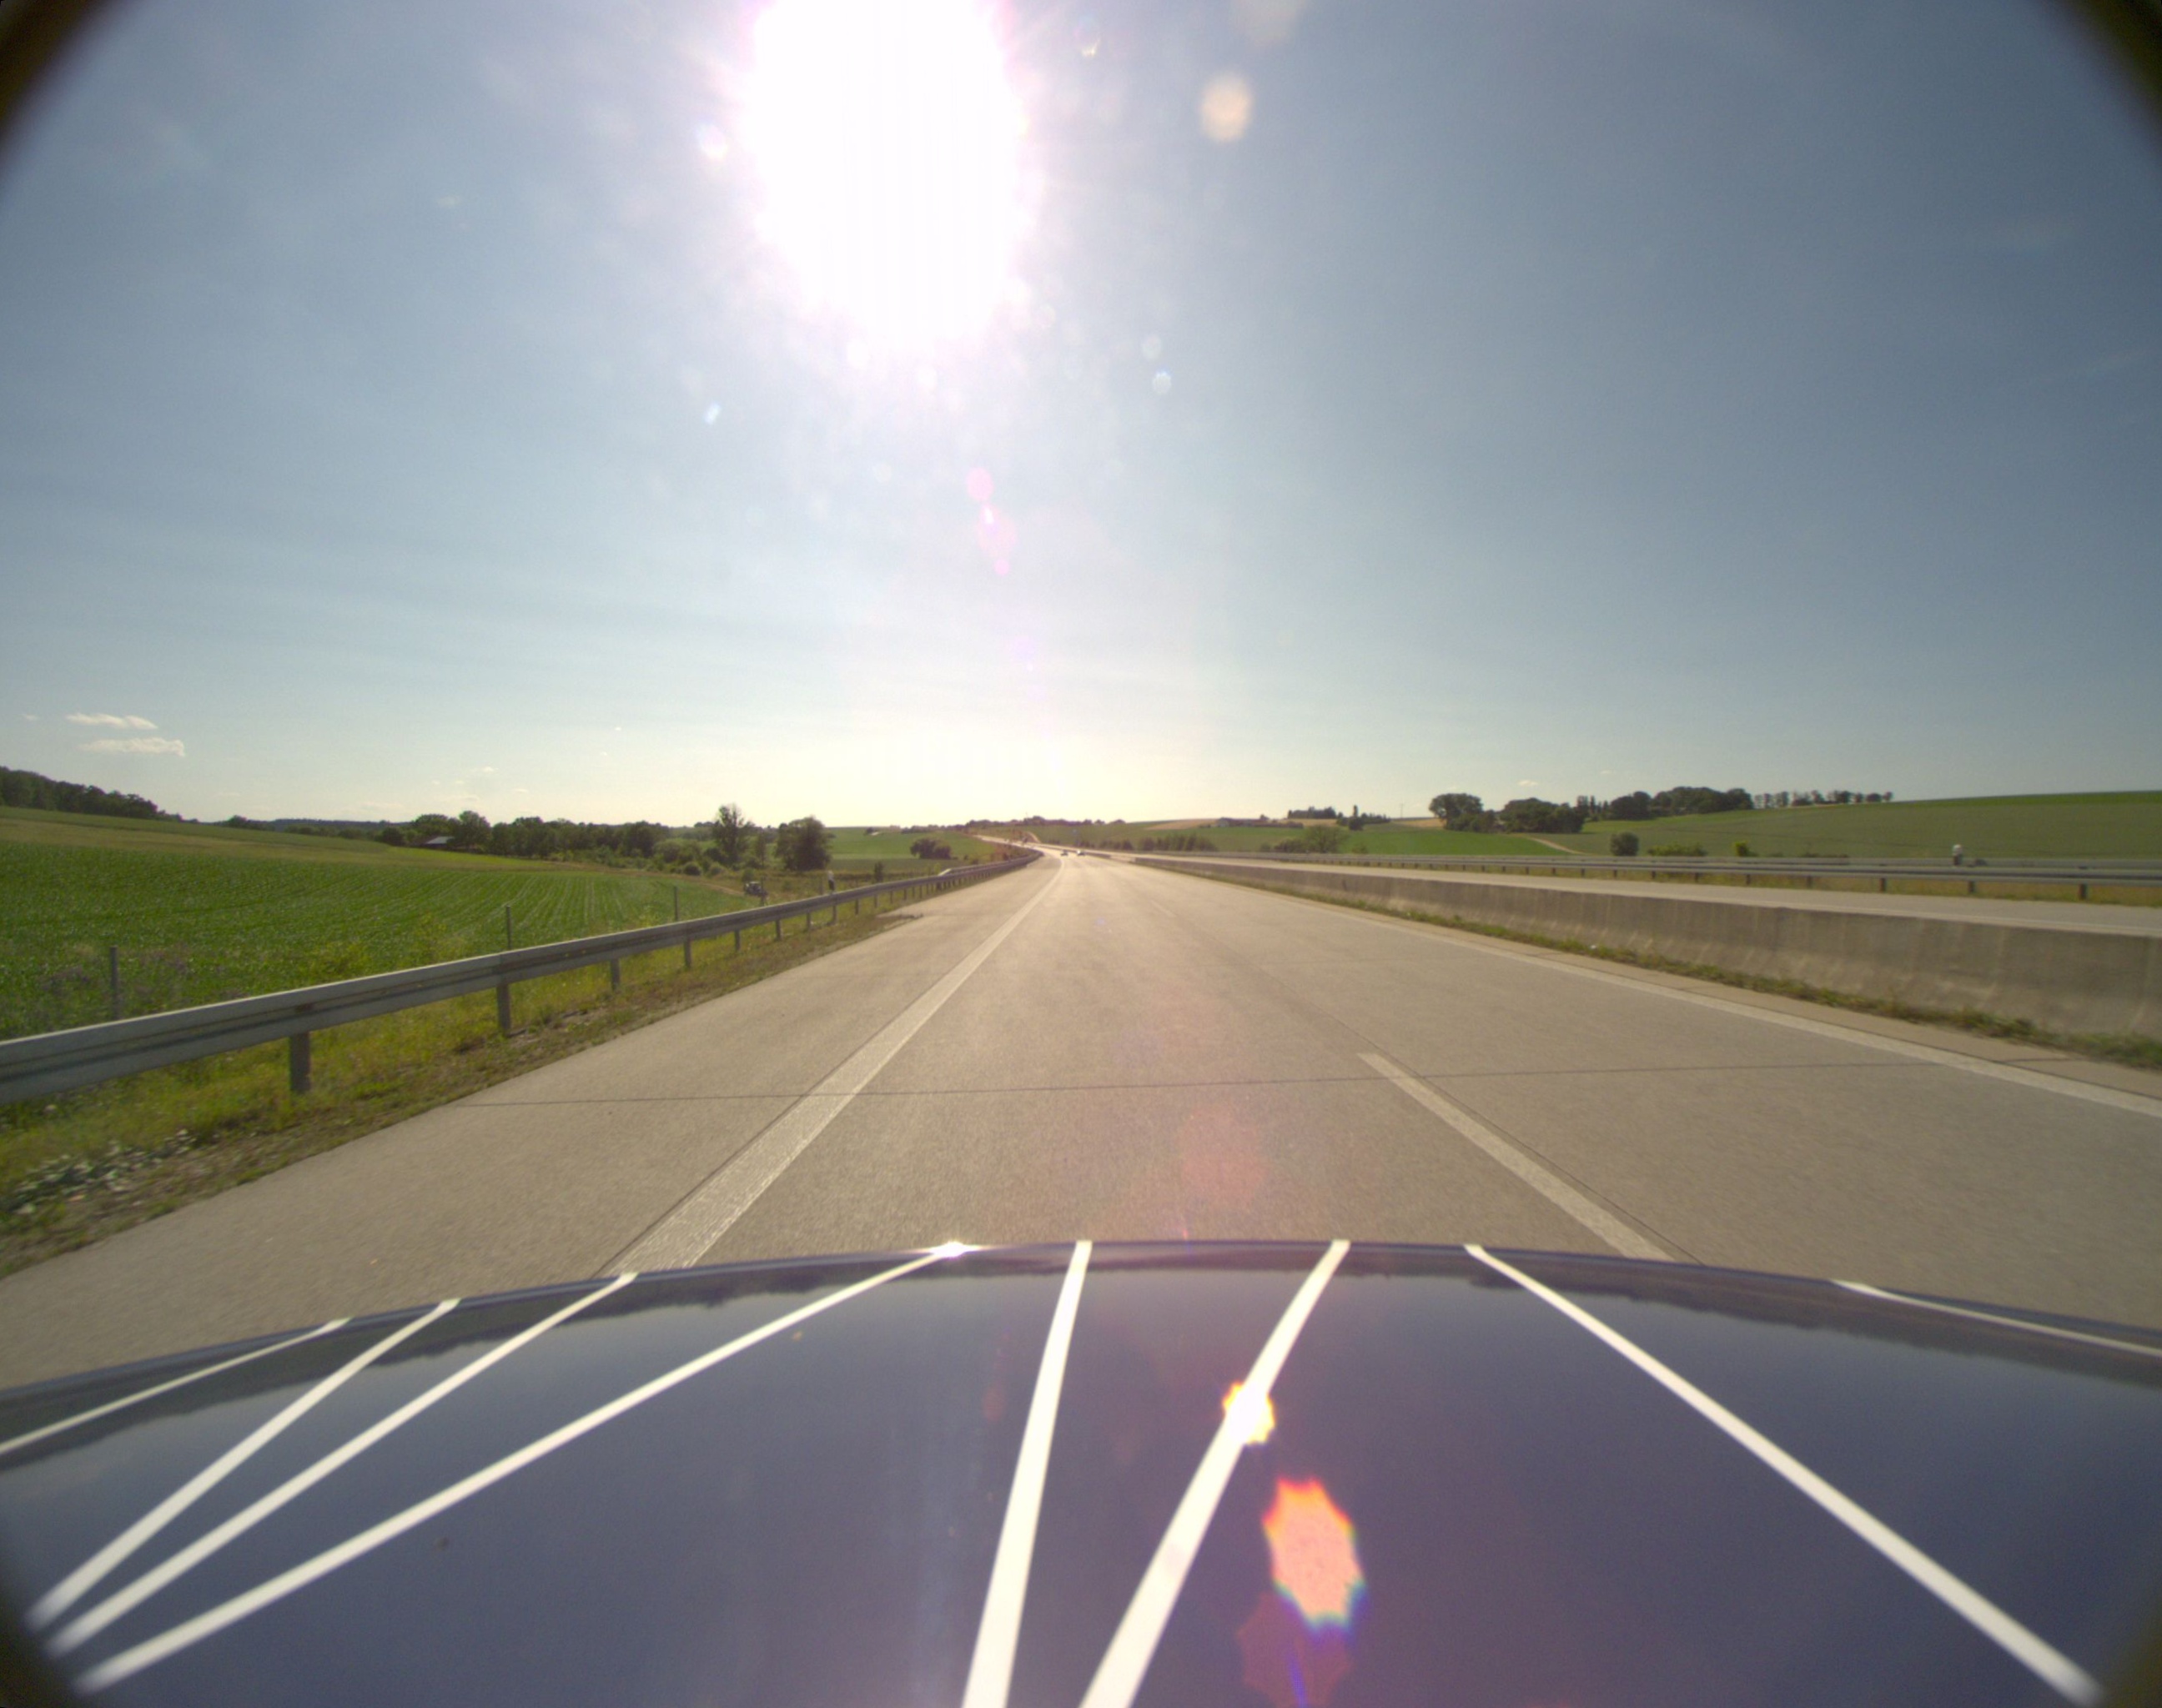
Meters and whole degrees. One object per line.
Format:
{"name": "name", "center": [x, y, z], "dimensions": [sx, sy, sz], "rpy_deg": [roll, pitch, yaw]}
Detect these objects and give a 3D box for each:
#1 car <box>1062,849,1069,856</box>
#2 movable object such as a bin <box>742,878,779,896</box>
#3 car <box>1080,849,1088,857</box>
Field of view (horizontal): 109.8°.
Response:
{"name": "car", "center": [-4.086, -0.502, 199.102], "dimensions": [1.715, 1.580, 4.623], "rpy_deg": [-2, 2, -4]}
{"name": "movable object such as a bin", "center": [-56.139, 5.806, 133.050], "dimensions": [6.214, 2.756, 3.292], "rpy_deg": [0, 3, 38]}
{"name": "car", "center": [0.723, -0.302, 185.281], "dimensions": [1.715, 1.580, 4.625], "rpy_deg": [-2, 2, 0]}
